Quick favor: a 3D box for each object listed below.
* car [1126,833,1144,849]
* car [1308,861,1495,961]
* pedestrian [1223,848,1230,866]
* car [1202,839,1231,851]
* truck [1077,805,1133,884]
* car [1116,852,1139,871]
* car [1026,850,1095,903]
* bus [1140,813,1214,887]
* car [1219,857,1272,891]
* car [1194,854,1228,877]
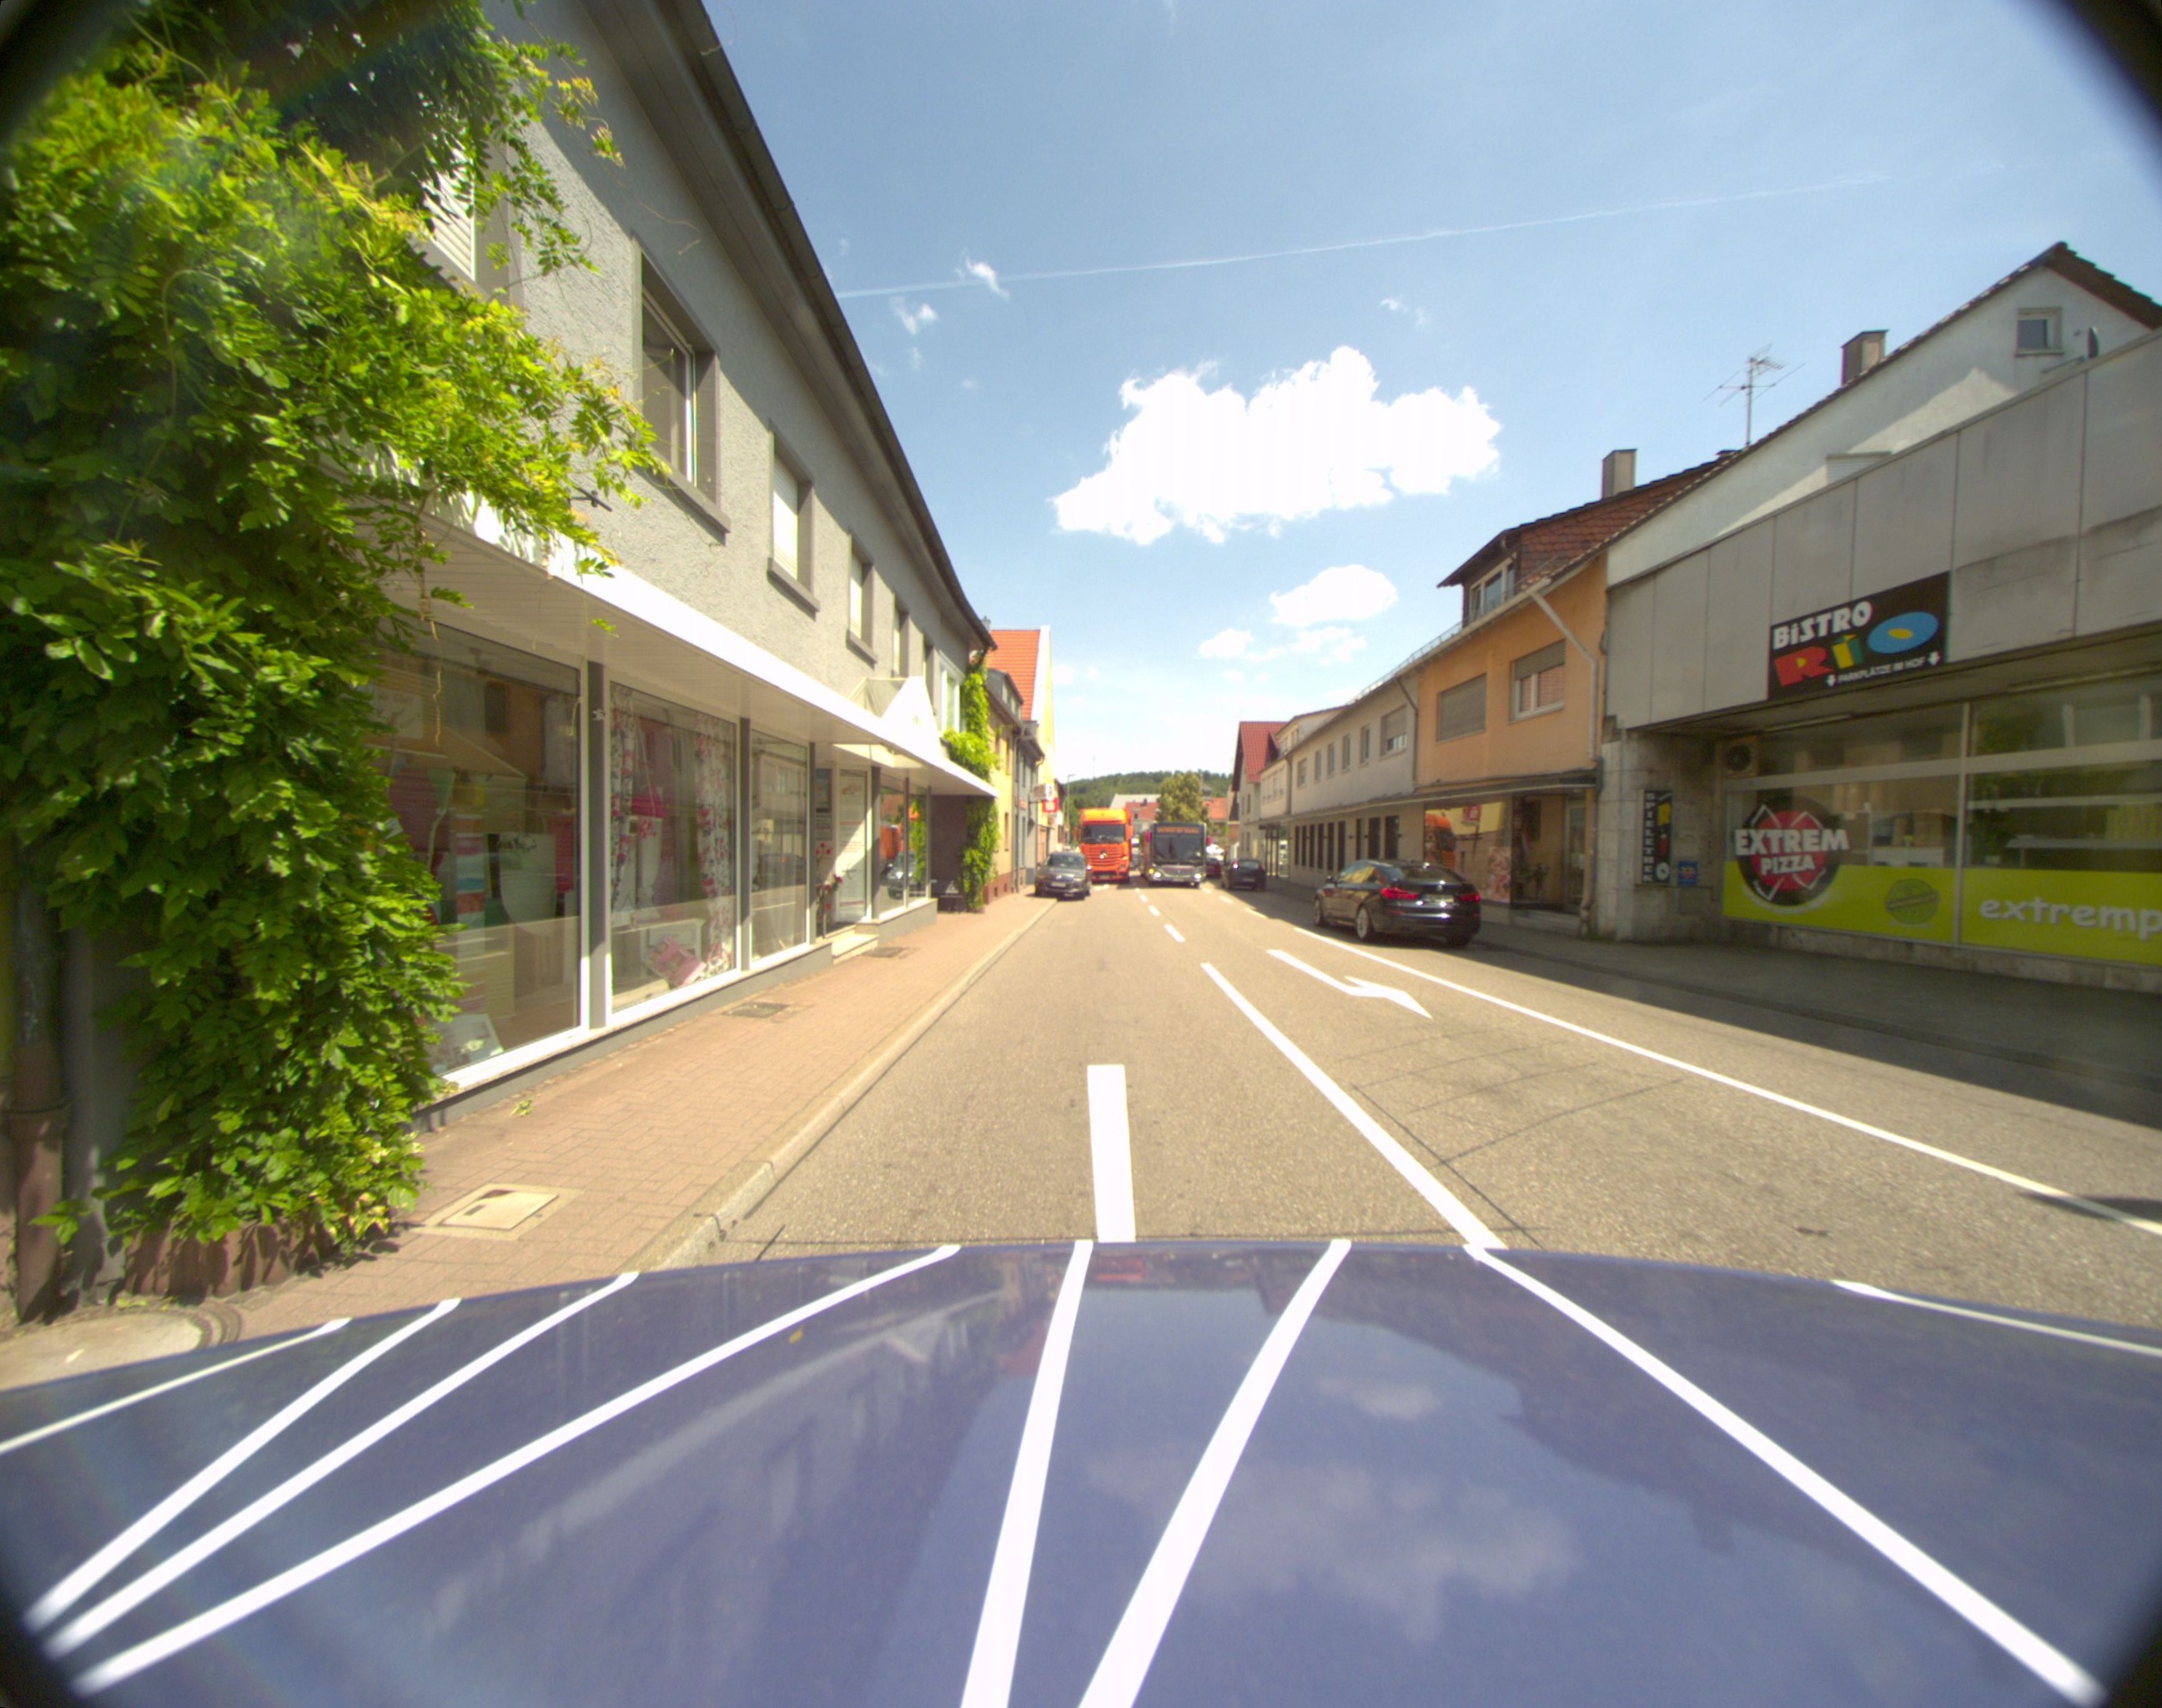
[{"bbox_3d":[6.856,-1.598,96.158,1.998,1.867,4.323,-2,-1,1],"label":"car"},{"bbox_3d":[6.088,0.975,15.140,1.801,1.478,4.797,3,1,2],"label":"car"},{"bbox_3d":[14.228,0.297,74.217,0.471,1.754,0.478,0,2,-18],"label":"pedestrian"},{"bbox_3d":[22.445,-1.442,125.527,4.443,1.932,1.975,-1,0,-30],"label":"car"},{"bbox_3d":[1.547,-0.466,43.434,2.614,3.922,9.996,-2,0,5],"label":"truck"},{"bbox_3d":[3.808,0.597,61.970,1.721,1.400,4.286,3,0,4],"label":"car"},{"bbox_3d":[-0.655,0.756,27.883,1.997,1.699,4.102,3,1,5],"label":"car"},{"bbox_3d":[4.917,-0.184,42.454,2.858,3.186,19.037,-1,0,4],"label":"bus"},{"bbox_3d":[7.515,0.873,35.037,1.721,1.414,3.821,2,0,2],"label":"car"},{"bbox_3d":[8.607,0.746,50.709,1.721,1.400,4.286,3,0,4],"label":"car"}]
